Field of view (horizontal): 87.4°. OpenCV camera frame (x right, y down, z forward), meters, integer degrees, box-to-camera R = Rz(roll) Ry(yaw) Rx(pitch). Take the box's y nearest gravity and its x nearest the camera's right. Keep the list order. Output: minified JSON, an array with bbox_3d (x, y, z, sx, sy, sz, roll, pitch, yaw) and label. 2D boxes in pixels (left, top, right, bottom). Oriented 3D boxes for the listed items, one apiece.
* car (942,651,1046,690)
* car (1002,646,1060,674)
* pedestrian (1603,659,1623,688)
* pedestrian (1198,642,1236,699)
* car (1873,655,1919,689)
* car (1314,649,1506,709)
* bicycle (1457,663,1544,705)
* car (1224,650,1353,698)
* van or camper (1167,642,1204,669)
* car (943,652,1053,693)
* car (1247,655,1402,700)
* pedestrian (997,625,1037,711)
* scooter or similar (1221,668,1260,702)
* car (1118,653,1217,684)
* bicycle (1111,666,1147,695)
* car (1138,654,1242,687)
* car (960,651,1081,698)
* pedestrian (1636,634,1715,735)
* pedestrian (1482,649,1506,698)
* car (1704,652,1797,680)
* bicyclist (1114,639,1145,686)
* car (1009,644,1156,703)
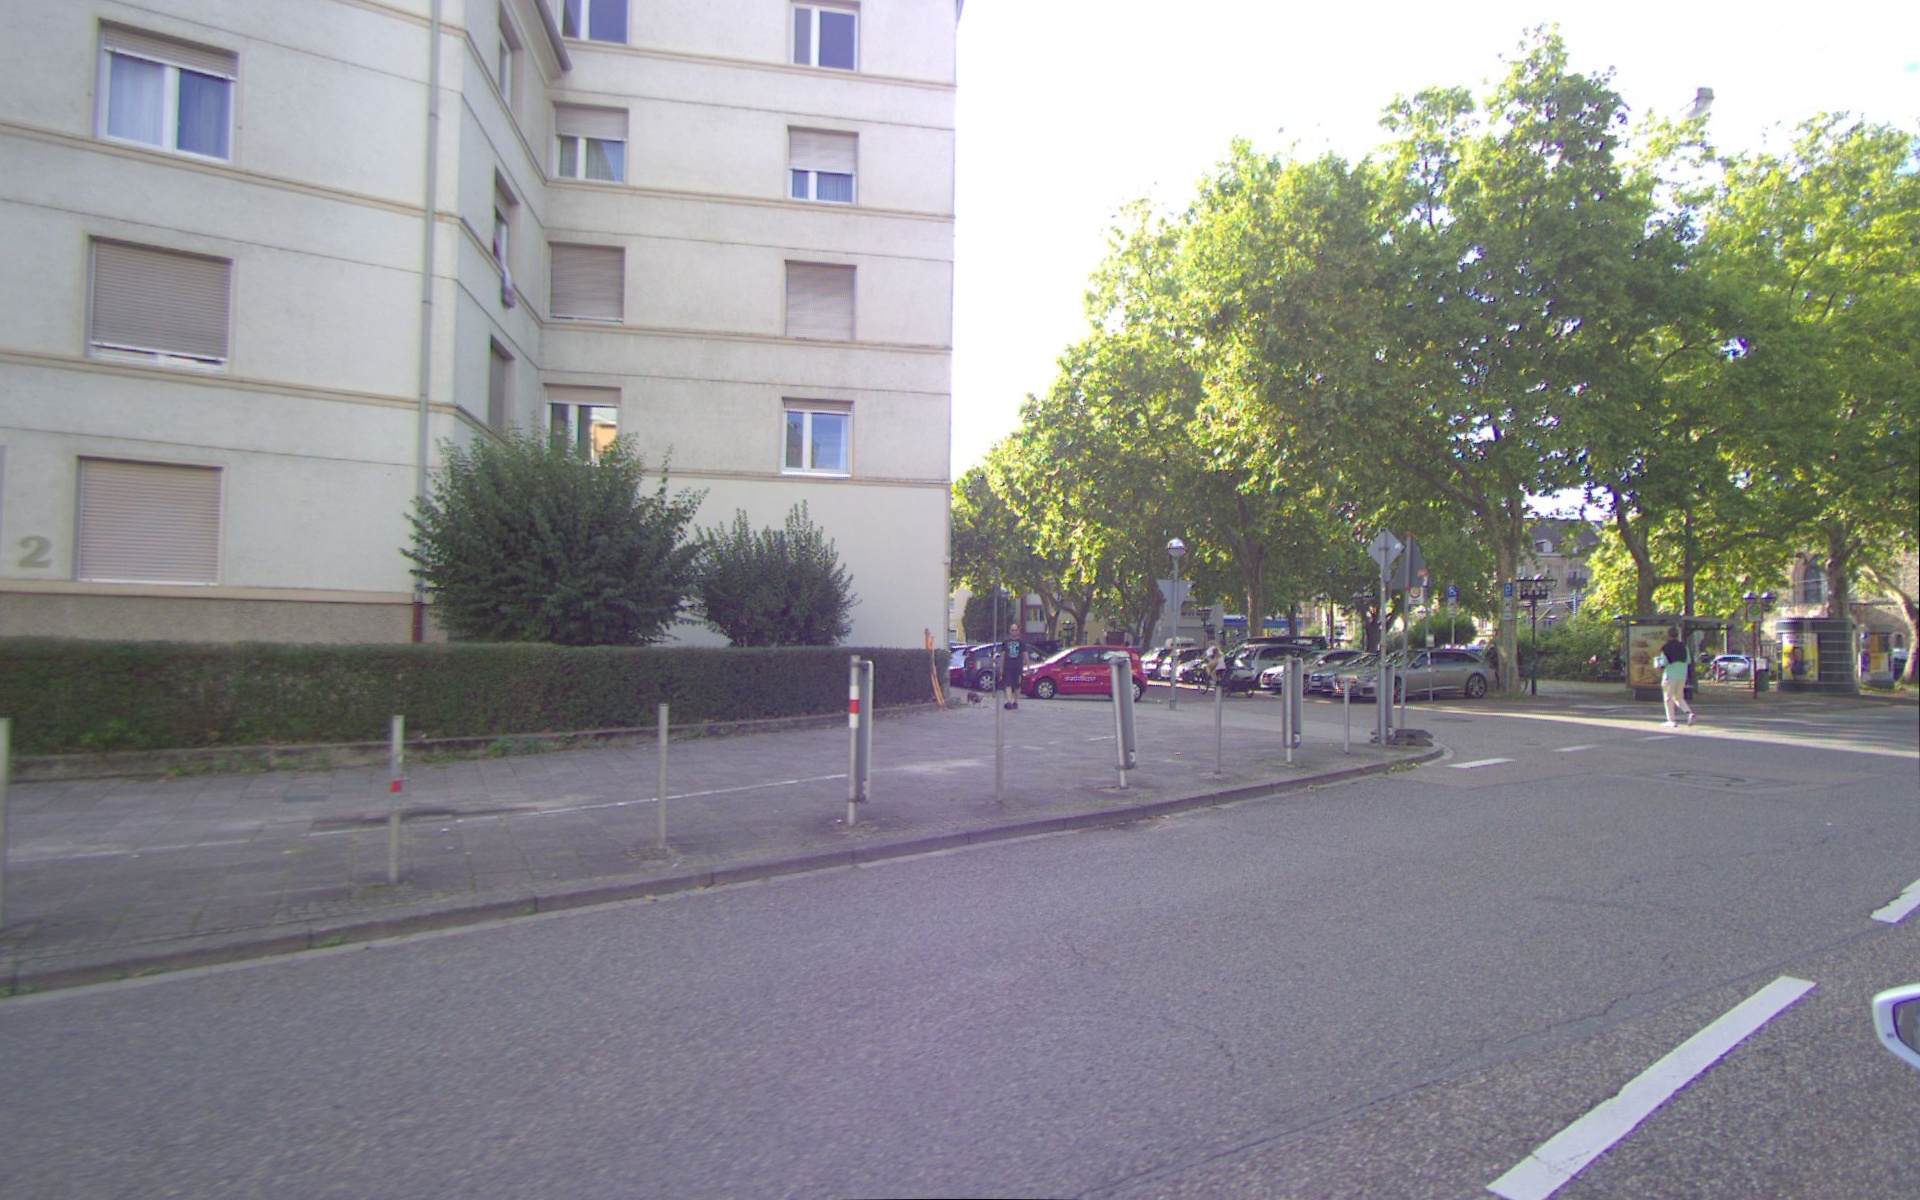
[{"bbox_3d":[1.241,2.581,36.812,3.499,1.321,1.647,2,-3,-14],"label":"car"},{"bbox_3d":[5.321,4.502,75.349,3.927,1.867,1.998,3,-1,-8],"label":"car"},{"bbox_3d":[31.183,3.514,47.976,0.711,1.305,0.816,2,-1,31],"label":"pedestrian"},{"bbox_3d":[7.839,2.142,30.658,0.800,1.675,1.076,1,-2,-4],"label":"pedestrian"},{"bbox_3d":[54.998,4.073,56.695,1.997,1.895,4.848,2,-3,-13],"label":"car"},{"bbox_3d":[12.947,2.260,28.943,4.898,1.606,2.232,2,-3,-19],"label":"car"},{"bbox_3d":[17.588,2.722,32.709,2.065,1.224,1.392,4,-3,-10],"label":"bicycle"},{"bbox_3d":[11.900,2.694,36.494,4.201,1.637,1.680,2,-3,-12],"label":"car"},{"bbox_3d":[20.819,5.135,92.967,2.072,2.359,4.489,1,-3,-6],"label":"van or camper"},{"bbox_3d":[1.257,2.463,34.238,3.494,1.321,1.650,2,-3,-8],"label":"car"},{"bbox_3d":[12.192,2.590,33.656,4.753,1.395,1.669,2,-3,-12],"label":"car"},{"bbox_3d":[1.095,1.304,19.380,0.719,1.599,0.733,1,-3,1],"label":"pedestrian"},{"bbox_3d":[8.025,2.428,28.743,0.792,0.935,1.014,1,-3,-2],"label":"scooter or similar"},{"bbox_3d":[10.031,3.330,48.705,4.310,1.395,1.857,2,-3,-12],"label":"car"},{"bbox_3d":[6.326,3.000,37.767,0.749,1.007,1.924,2,-3,-9],"label":"bicycle"},{"bbox_3d":[10.576,3.254,46.366,4.310,1.395,1.857,2,-3,-12],"label":"car"},{"bbox_3d":[1.912,2.375,32.151,3.637,1.384,1.595,2,-3,-6],"label":"car"},{"bbox_3d":[13.338,1.551,18.726,1.063,1.776,0.914,0,-2,44],"label":"pedestrian"},{"bbox_3d":[19.143,2.636,36.000,0.699,1.738,0.498,3,-3,-32],"label":"pedestrian"},{"bbox_3d":[52.917,4.395,67.370,1.982,1.705,4.710,2,-3,-13],"label":"car"},{"bbox_3d":[6.350,2.332,37.675,0.800,1.713,1.112,1,-2,-9],"label":"bicyclist"},{"bbox_3d":[3.292,1.975,27.271,3.639,1.497,1.594,2,-3,-9],"label":"car"}]
